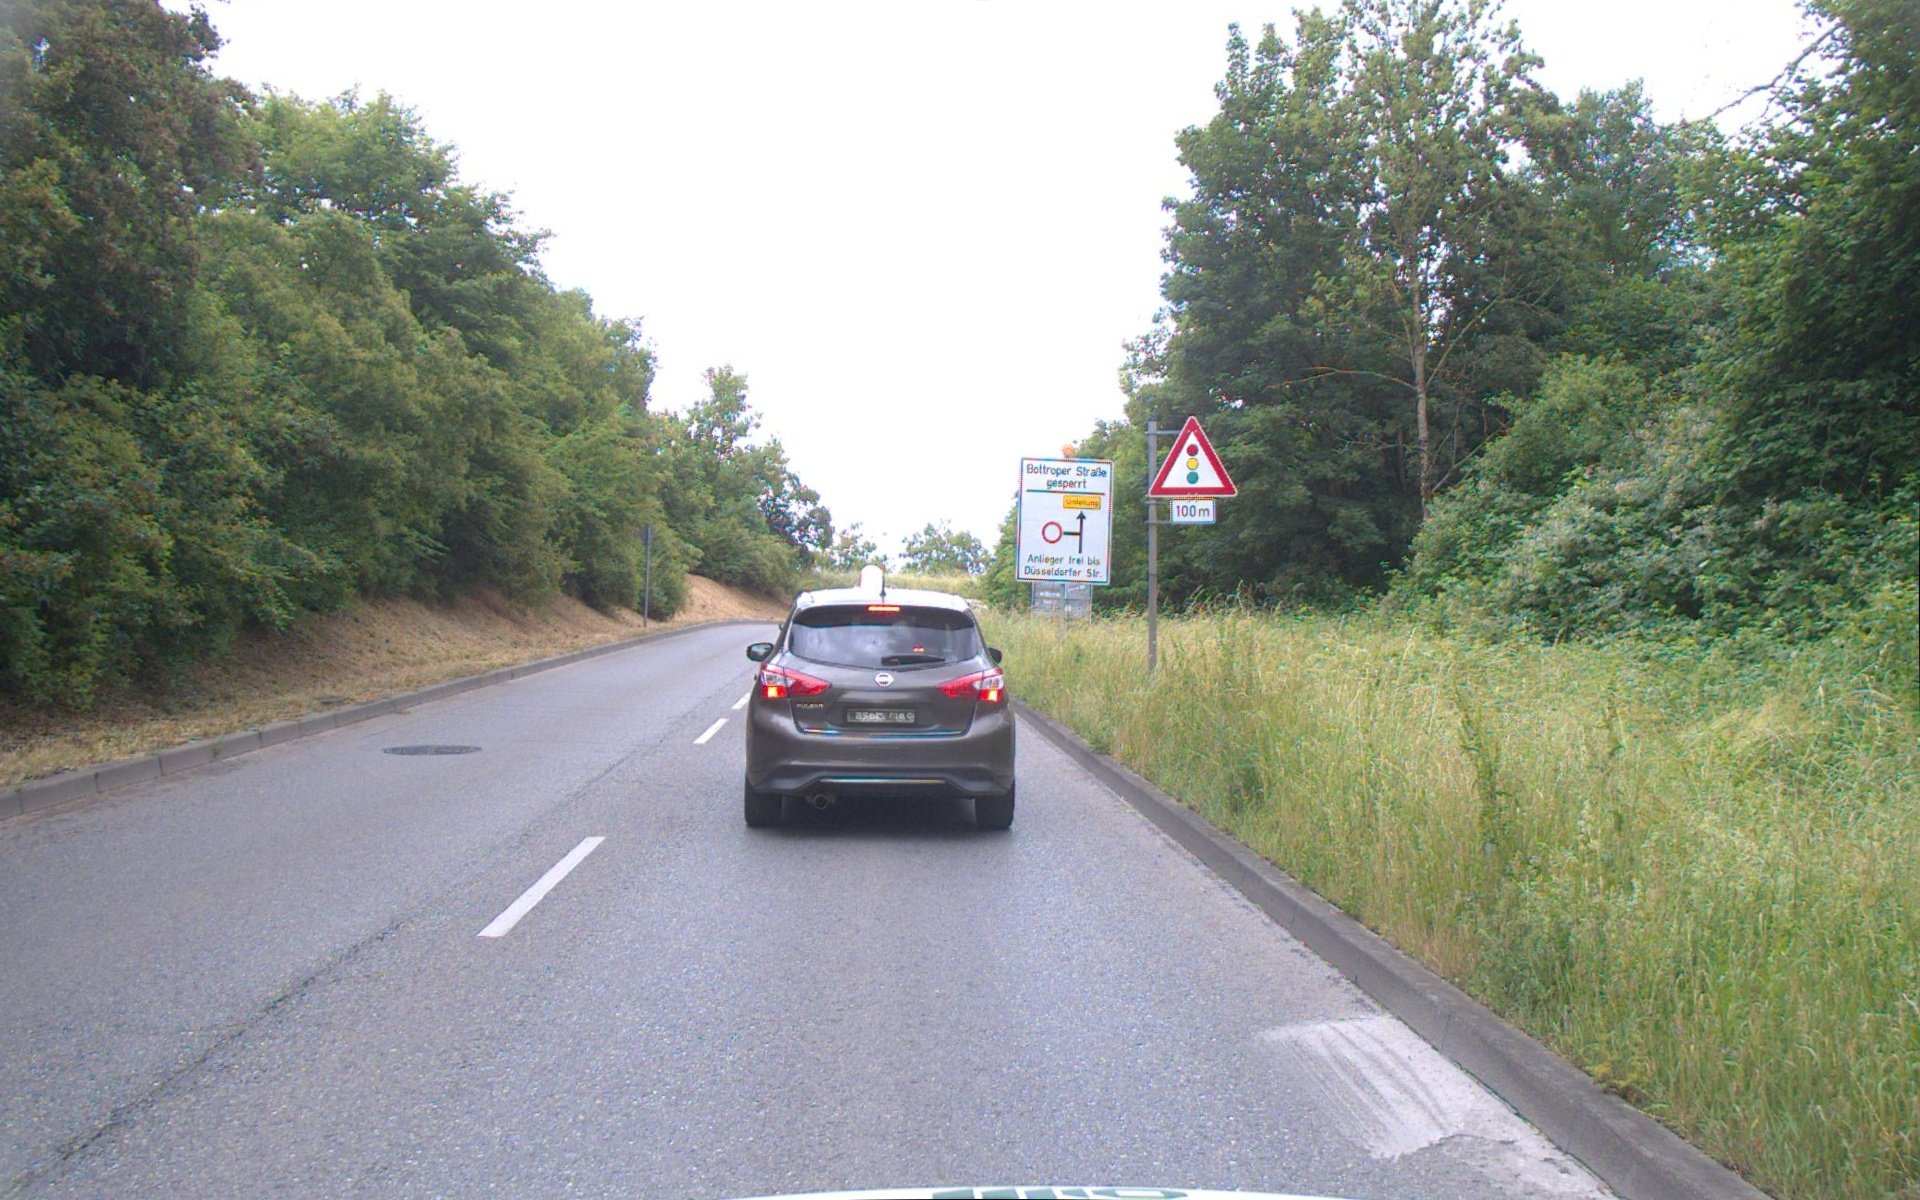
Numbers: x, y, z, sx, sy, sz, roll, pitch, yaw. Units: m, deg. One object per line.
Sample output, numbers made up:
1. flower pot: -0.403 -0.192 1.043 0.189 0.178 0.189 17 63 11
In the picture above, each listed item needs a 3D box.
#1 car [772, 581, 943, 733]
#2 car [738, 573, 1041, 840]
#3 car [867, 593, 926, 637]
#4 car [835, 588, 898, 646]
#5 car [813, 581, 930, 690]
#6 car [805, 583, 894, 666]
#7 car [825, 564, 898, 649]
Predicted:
1. car: -1.149 0.587 19.159 1.793 1.583 3.623 0 0 -2
2. car: -0.535 0.632 11.668 1.794 1.583 3.496 1 0 -4
3. car: -2.271 0.512 59.938 1.699 1.553 3.644 0 0 5
4. car: -2.634 0.447 46.458 1.701 1.553 3.541 0 0 -4
5. car: -1.354 0.503 25.768 1.701 1.583 3.542 0 0 -2
6. car: -2.181 0.449 33.397 1.701 1.583 3.542 0 0 -2
7. car: -2.365 0.140 40.491 1.701 1.968 3.542 0 0 -2
